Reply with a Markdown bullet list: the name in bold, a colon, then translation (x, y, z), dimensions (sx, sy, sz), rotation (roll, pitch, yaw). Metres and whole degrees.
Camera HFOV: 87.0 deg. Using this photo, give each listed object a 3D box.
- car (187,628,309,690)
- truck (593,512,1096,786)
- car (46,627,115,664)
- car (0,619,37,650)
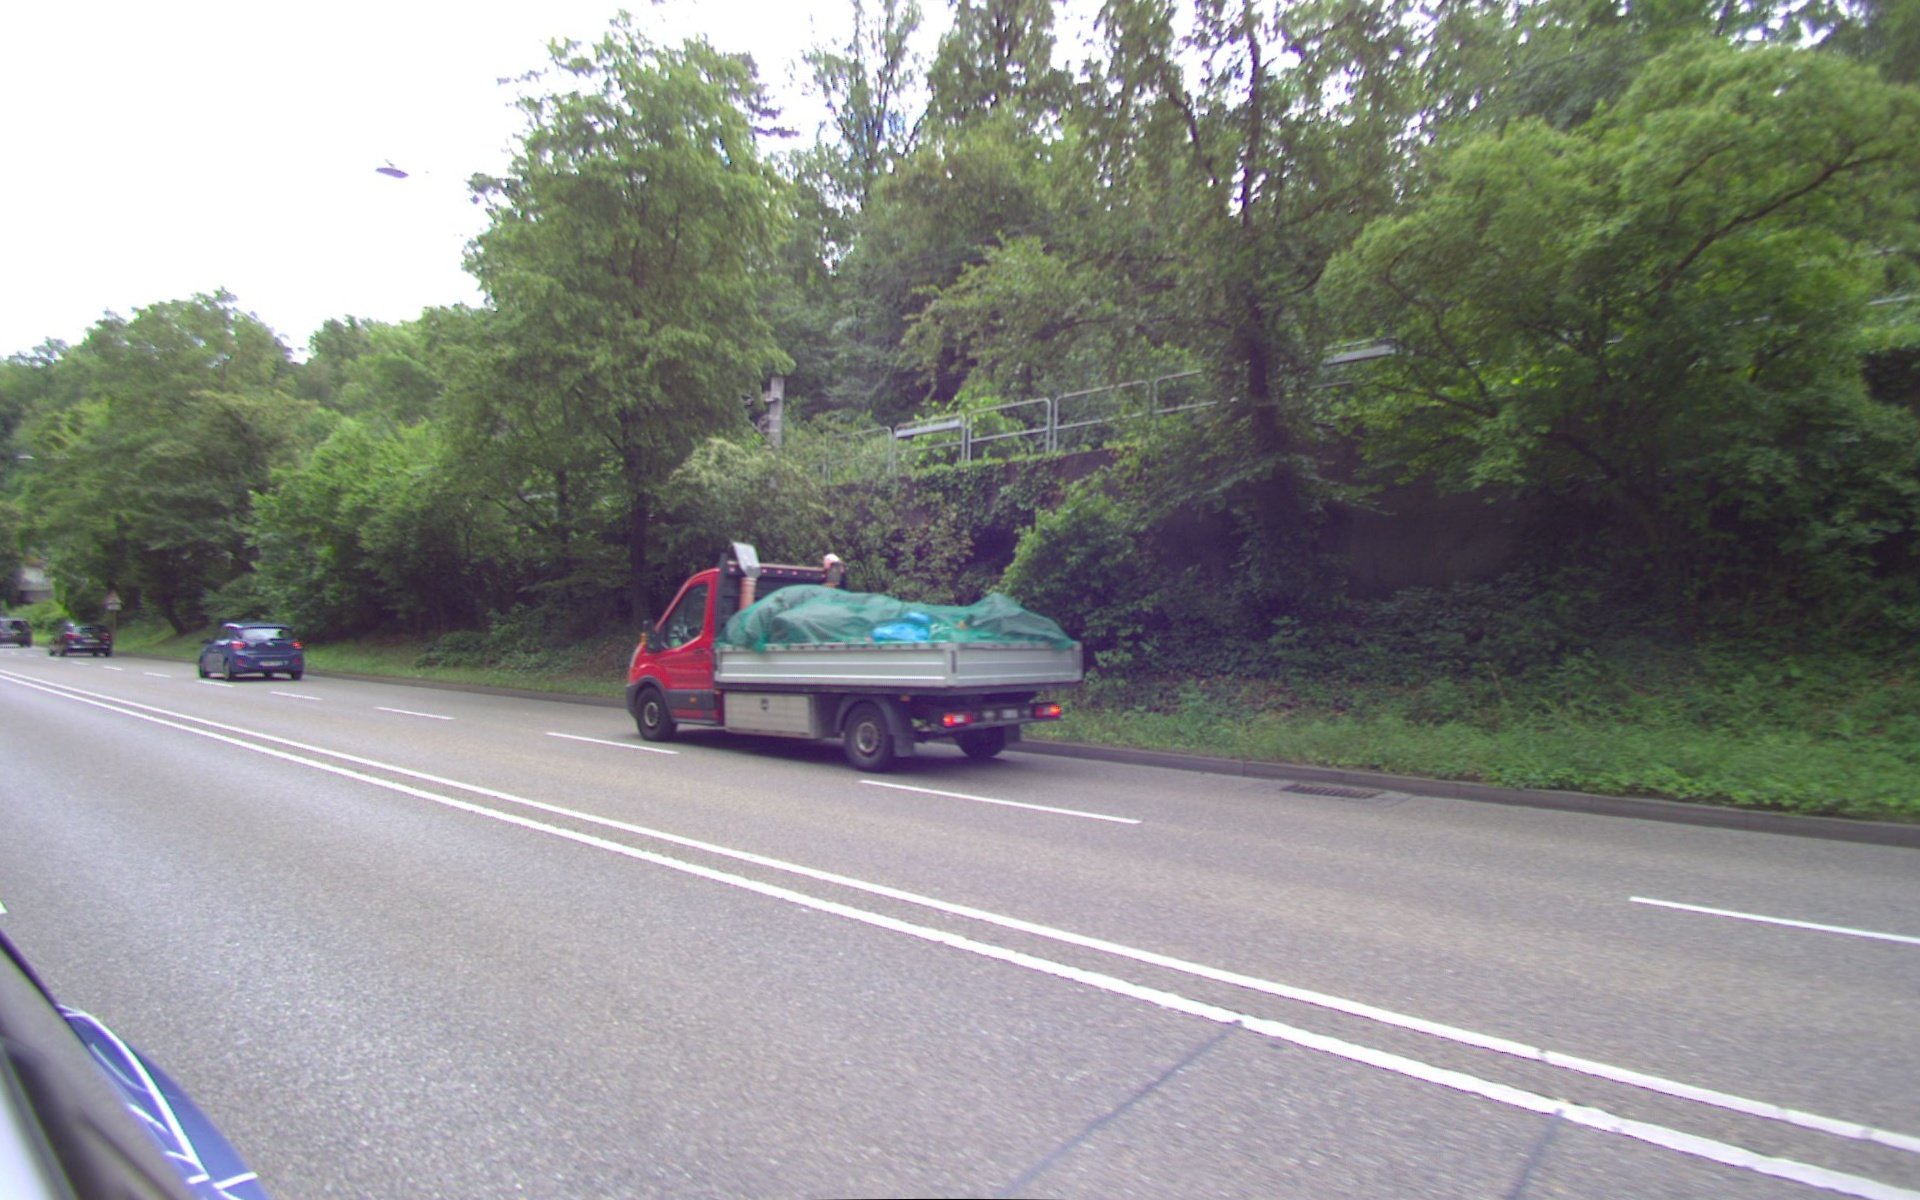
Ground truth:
- **car**: translation (-18.914, 1.517, 26.835), dimensions (3.997, 1.497, 1.653), rotation (-1, -2, 40)
- **truck**: translation (-1.695, 0.531, 11.977), dimensions (6.464, 2.429, 2.153), rotation (-1, -4, 43)
- **car**: translation (-38.929, 1.992, 44.764), dimensions (4.431, 1.522, 1.714), rotation (-1, -3, 41)
- **car**: translation (-57.591, 2.098, 61.533), dimensions (4.133, 1.786, 1.641), rotation (-1, -3, 41)
